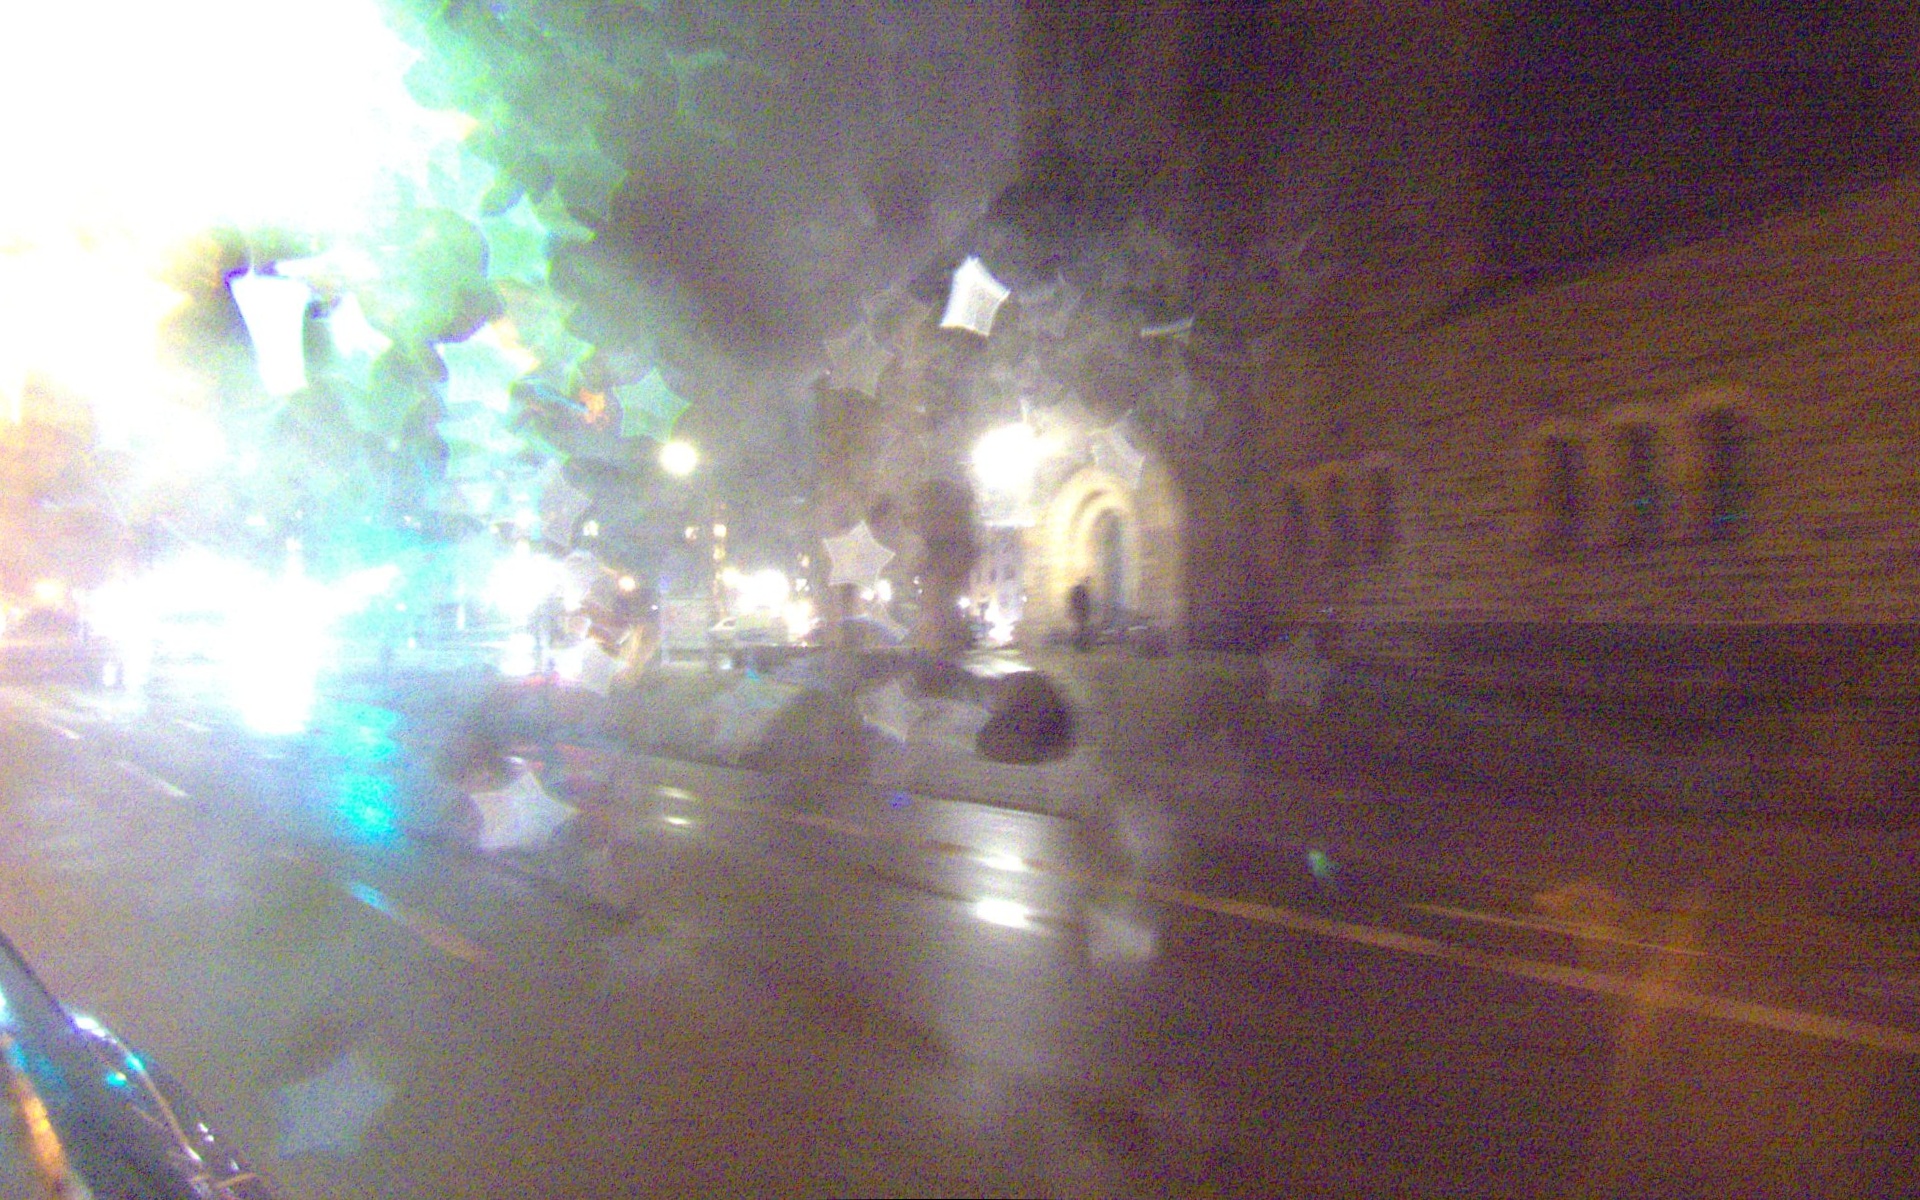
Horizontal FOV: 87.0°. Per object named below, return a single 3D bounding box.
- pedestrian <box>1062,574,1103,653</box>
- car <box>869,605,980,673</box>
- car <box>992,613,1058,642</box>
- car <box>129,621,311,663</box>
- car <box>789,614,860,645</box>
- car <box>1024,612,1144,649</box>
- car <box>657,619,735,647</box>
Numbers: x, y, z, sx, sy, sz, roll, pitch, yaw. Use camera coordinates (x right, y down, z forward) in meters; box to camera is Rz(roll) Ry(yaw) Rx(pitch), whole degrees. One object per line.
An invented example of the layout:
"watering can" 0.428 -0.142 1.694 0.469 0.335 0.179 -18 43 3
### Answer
"pedestrian" 2.679 0.299 22.051 0.785 1.688 0.626 -1 -1 15
"car" -1.056 1.092 28.043 1.671 1.741 4.013 2 -3 -24
"car" 4.249 1.774 66.396 3.931 1.852 1.860 0 -1 -20
"car" -25.652 1.435 35.183 5.002 1.436 1.998 0 -1 4
"car" -8.220 1.767 61.372 3.930 1.785 2.006 0 -1 -22
"car" 5.329 1.320 43.498 4.649 1.436 2.006 -1 -2 -19
"car" -15.272 1.891 58.594 4.147 1.578 1.856 1 -2 -23
